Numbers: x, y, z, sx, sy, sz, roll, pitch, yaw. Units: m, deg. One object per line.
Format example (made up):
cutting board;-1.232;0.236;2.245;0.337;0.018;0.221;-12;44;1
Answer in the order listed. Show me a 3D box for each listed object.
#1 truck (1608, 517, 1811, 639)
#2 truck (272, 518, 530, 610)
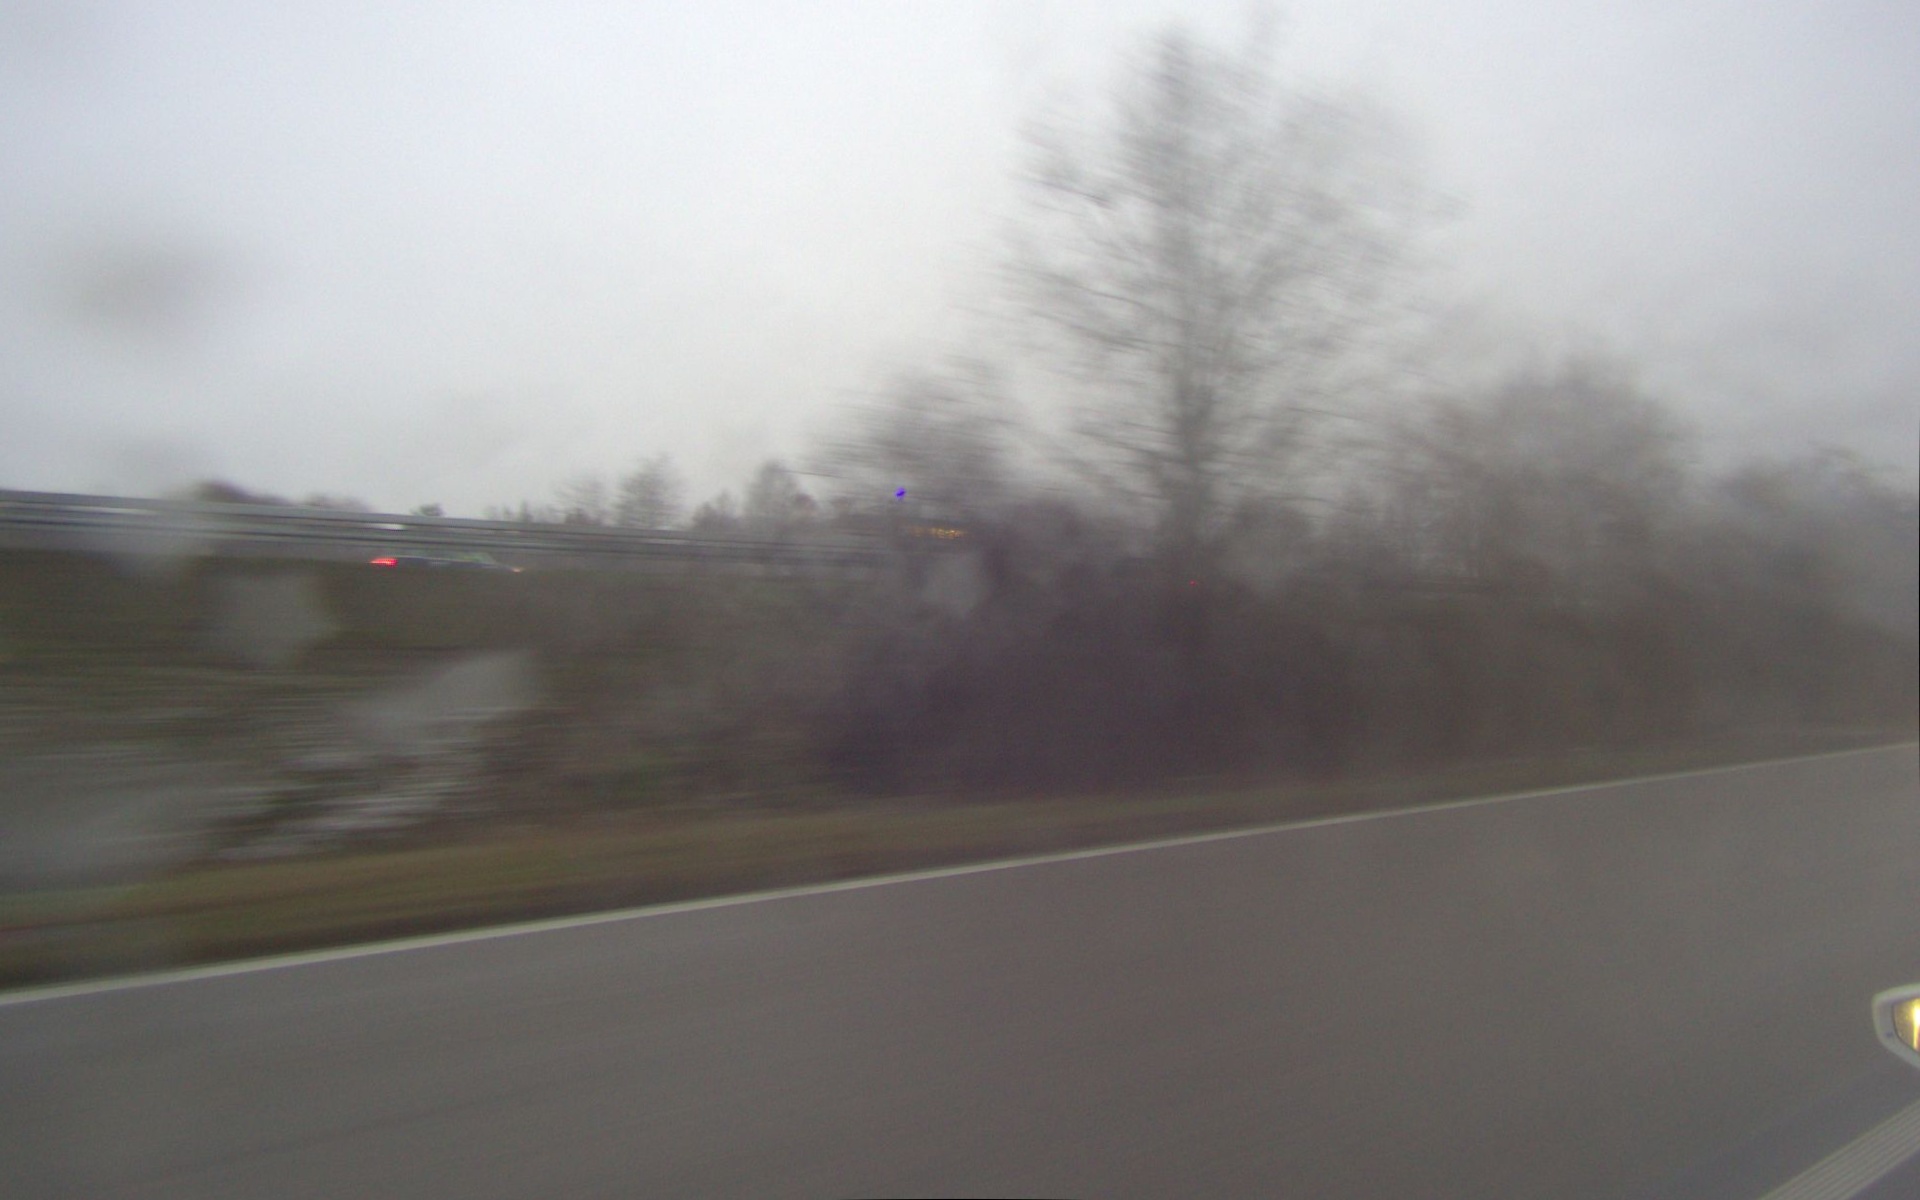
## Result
truck;44.289;-1.026;59.052;15.555;6.372;3.745;2;0;-30
truck;-14.221;-0.842;25.870;5.538;2.040;2.301;2;0;-30
